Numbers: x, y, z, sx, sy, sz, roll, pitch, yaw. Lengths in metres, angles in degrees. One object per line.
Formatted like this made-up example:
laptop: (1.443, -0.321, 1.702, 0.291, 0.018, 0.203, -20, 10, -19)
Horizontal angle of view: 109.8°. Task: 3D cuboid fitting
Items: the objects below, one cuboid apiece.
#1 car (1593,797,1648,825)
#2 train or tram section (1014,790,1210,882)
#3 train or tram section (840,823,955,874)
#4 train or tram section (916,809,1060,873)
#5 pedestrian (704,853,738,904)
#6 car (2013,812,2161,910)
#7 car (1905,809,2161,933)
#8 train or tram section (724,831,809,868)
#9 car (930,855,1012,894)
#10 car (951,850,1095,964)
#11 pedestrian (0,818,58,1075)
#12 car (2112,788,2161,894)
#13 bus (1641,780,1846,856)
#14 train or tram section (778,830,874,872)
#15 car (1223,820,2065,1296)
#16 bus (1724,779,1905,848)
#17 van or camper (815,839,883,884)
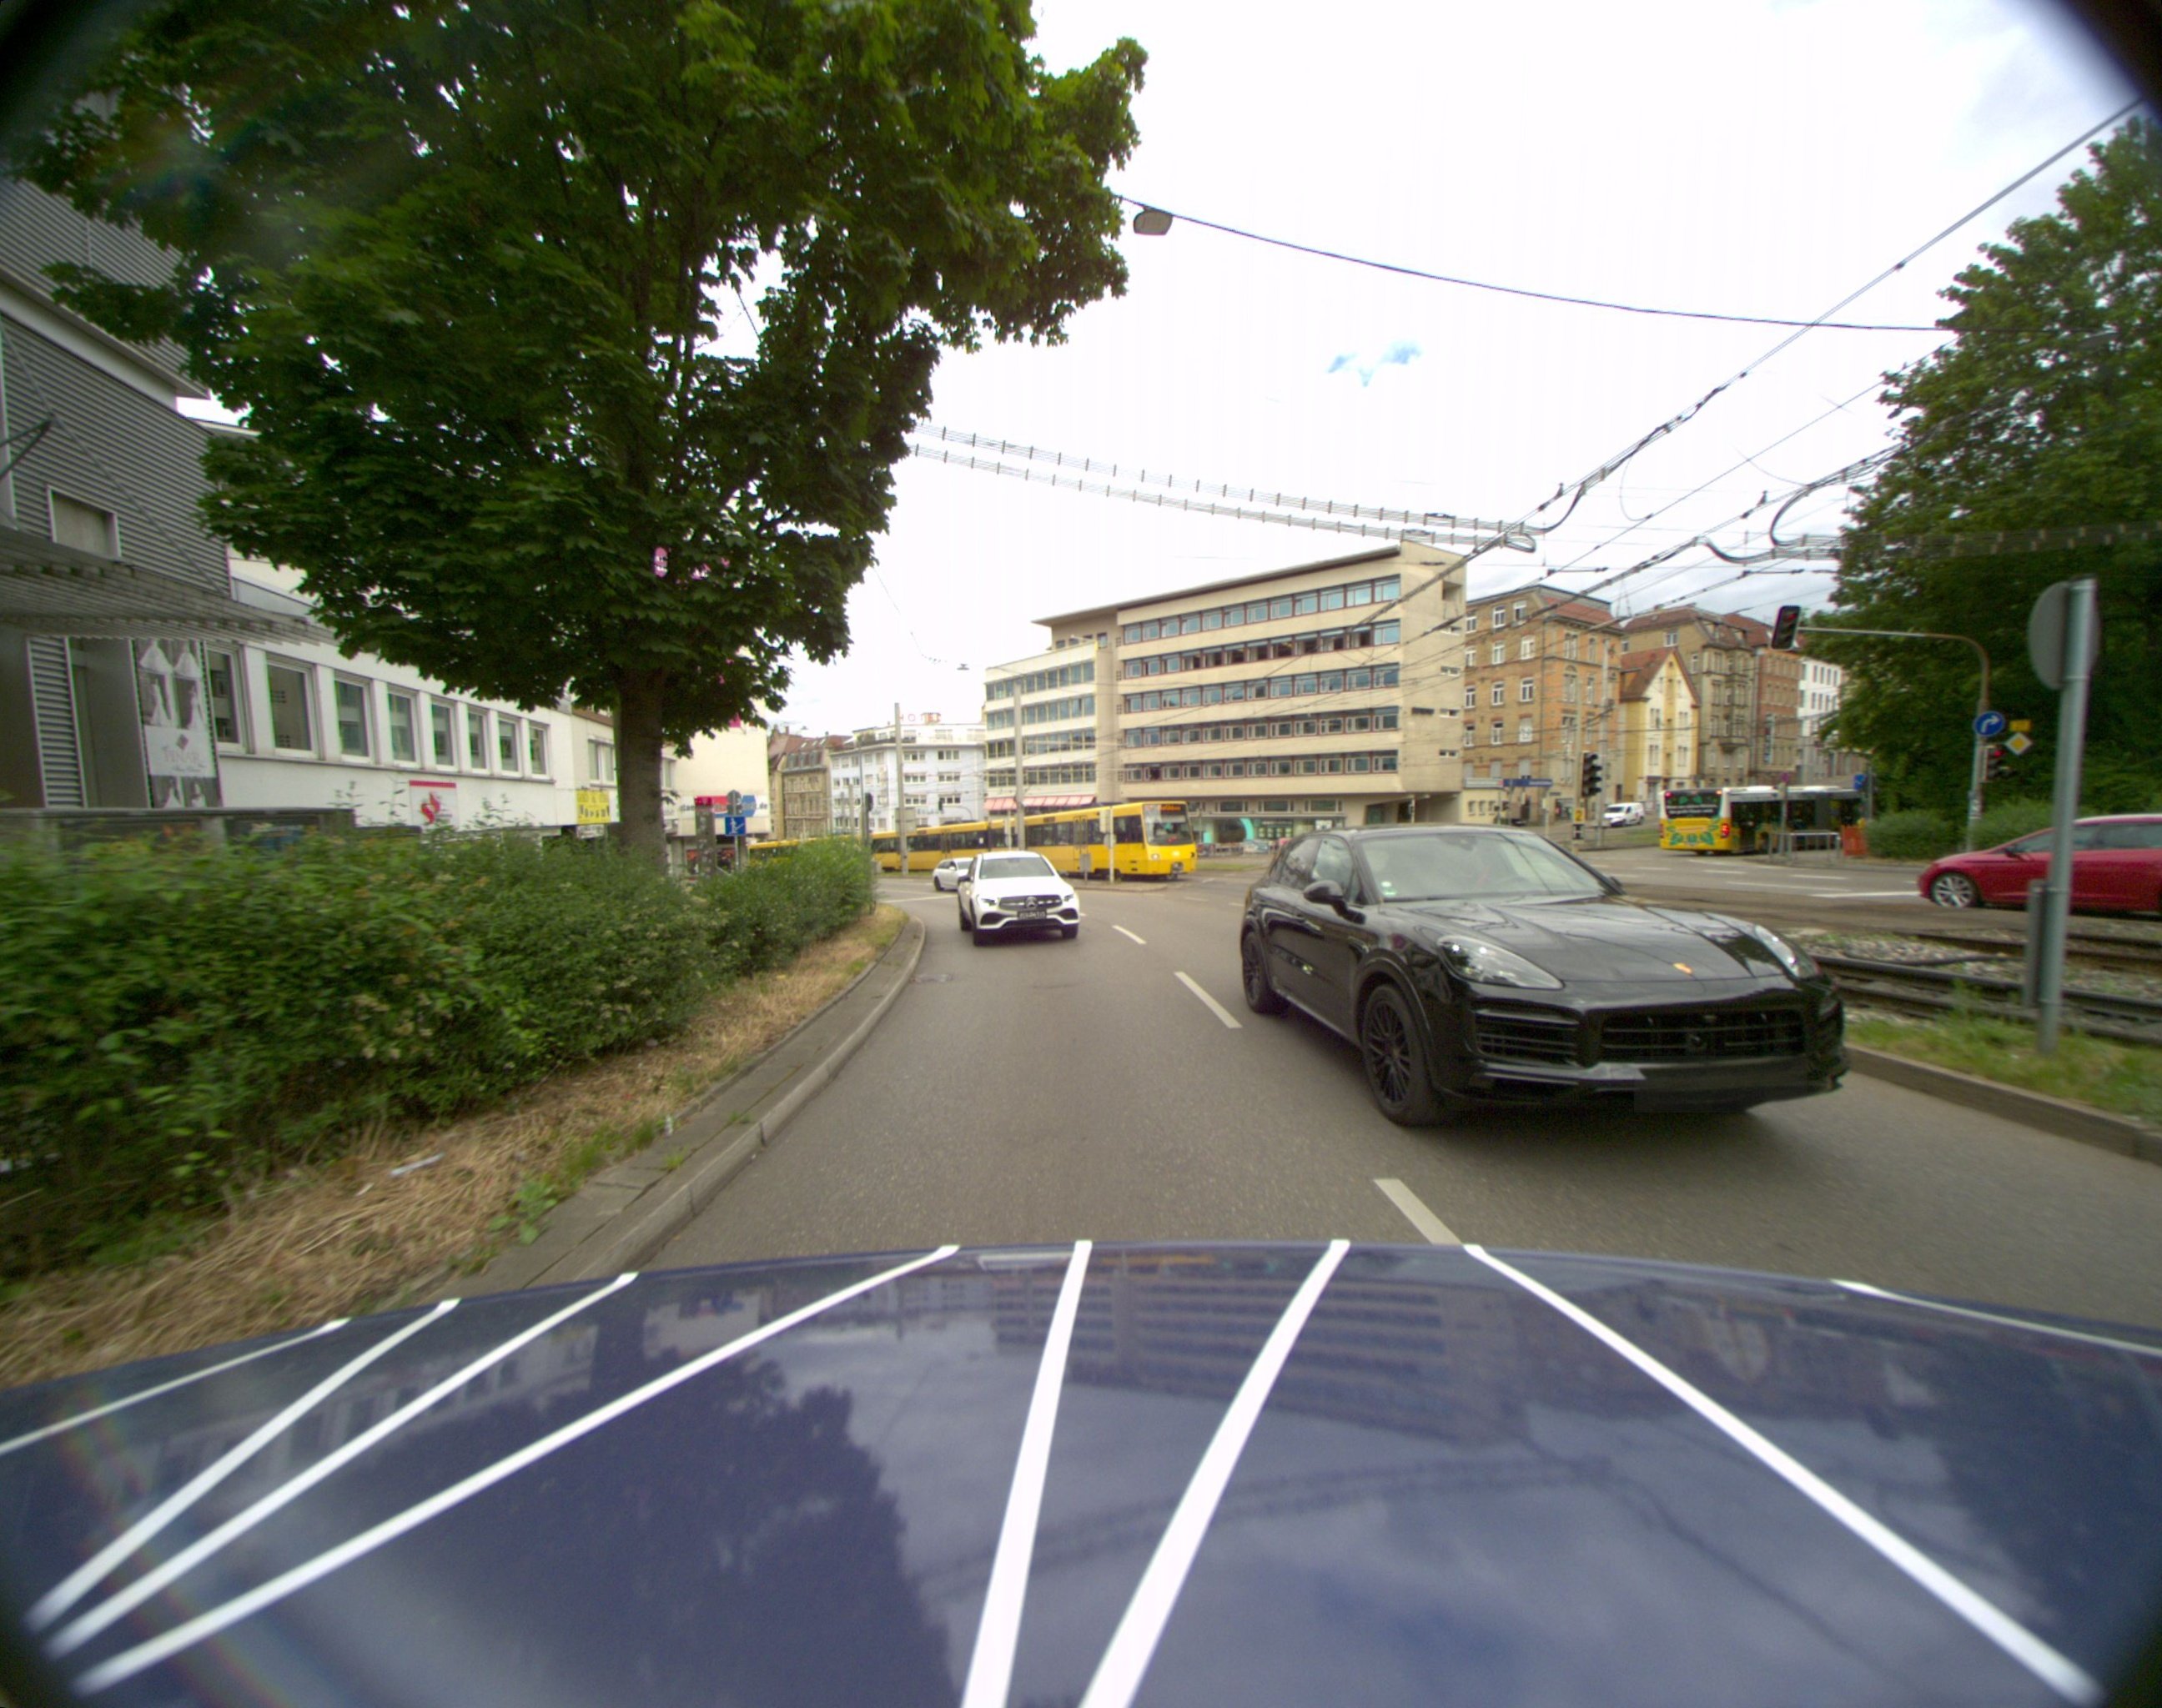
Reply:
car: (43.898, -3.456, 61.804, 4.006, 2.000, 1.997, -1, -4, -28)
train or tram section: (0.836, -0.794, 38.174, 2.894, 3.643, 14.443, -5, 2, -27)
train or tram section: (-15.362, -0.357, 62.196, 2.895, 3.644, 14.190, -6, 3, -40)
train or tram section: (-6.729, -0.775, 51.109, 2.895, 3.643, 14.192, -5, 2, -36)
pedestrian: (-13.369, 0.892, 28.242, 0.836, 1.800, 1.149, -1, 1, -11)
car: (17.064, 0.107, 11.029, 1.746, 1.419, 4.404, -2, 2, 2)
car: (14.391, 0.172, 10.177, 1.998, 1.510, 4.405, -2, 2, 2)
train or tram section: (-34.608, -0.402, 83.083, 14.190, 3.423, 2.895, -2, 5, 45)
car: (-4.938, 0.837, 33.659, 1.901, 1.467, 4.520, -5, 3, -31)
car: (-1.316, 0.835, 14.725, 1.937, 1.623, 4.766, -4, 2, -14)
pedestrian: (-7.863, 0.655, 5.219, 0.675, 1.784, 0.608, -3, 1, -16)
car: (19.573, -0.215, 11.239, 1.998, 1.839, 4.993, -2, 1, 3)
bus: (30.755, -1.738, 35.046, 11.564, 3.012, 3.382, -3, 1, -29)
train or tram section: (-24.745, -0.281, 72.884, 2.936, 3.540, 14.189, -7, 5, -42)
car: (2.535, 0.664, 5.173, 2.033, 1.676, 4.778, -2, 2, -2)
bus: (37.672, -2.123, 38.854, 11.377, 3.026, 3.317, -3, 1, -28)
van or camper: (-14.915, 0.410, 48.565, 2.213, 2.544, 6.357, -6, 4, -33)
